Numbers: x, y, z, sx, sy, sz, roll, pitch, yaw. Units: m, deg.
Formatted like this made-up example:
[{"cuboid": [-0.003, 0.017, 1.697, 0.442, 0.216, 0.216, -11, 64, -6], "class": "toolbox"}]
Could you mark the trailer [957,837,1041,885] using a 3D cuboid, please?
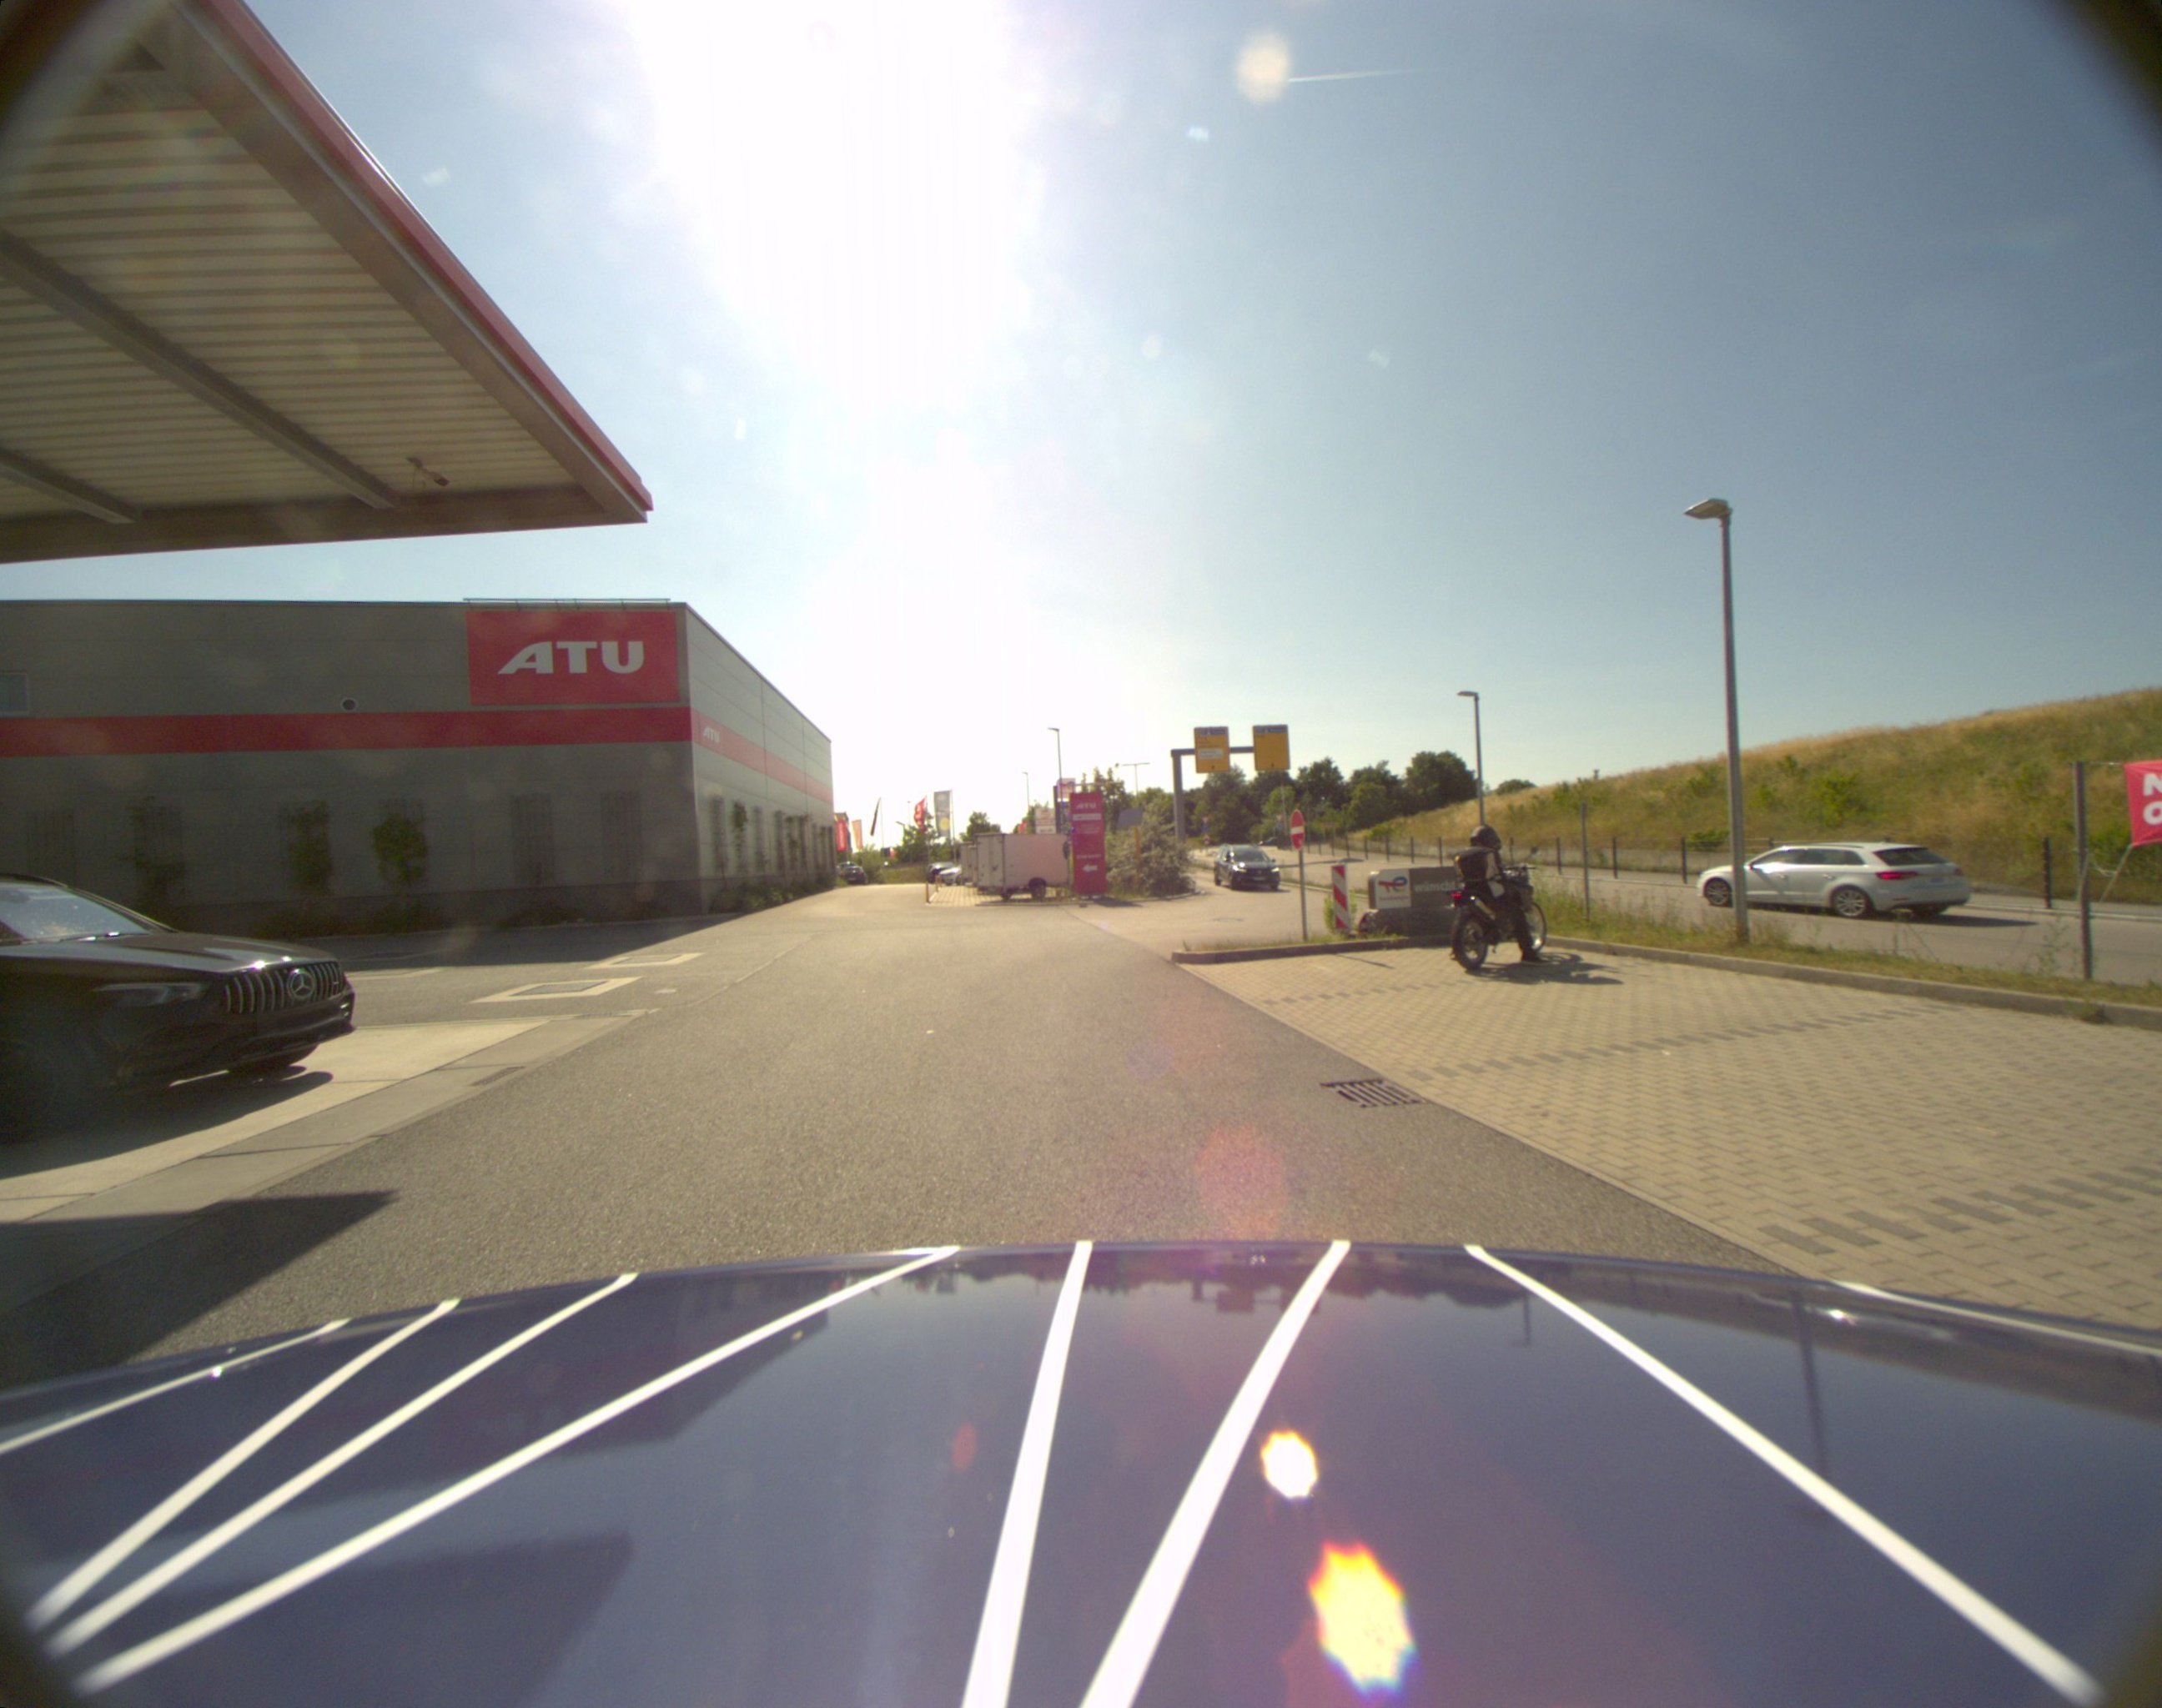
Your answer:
[{"cuboid": [-4.454, 0.366, 41.463, 4.007, 2.413, 1.995, -2, 1, -36], "class": "trailer"}]

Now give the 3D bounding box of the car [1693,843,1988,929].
[{"cuboid": [15.156, 0.533, 15.535, 1.707, 1.416, 4.091, -2, 2, -6], "class": "car"}]

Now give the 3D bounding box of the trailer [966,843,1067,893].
[{"cuboid": [-2.850, 0.609, 33.729, 4.006, 2.002, 1.798, -2, 0, -33], "class": "trailer"}]

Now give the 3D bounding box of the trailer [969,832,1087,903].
[{"cuboid": [-1.921, 0.451, 28.328, 1.994, 2.413, 4.008, -2, 1, 44], "class": "trailer"}]

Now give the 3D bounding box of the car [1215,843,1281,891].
[{"cuboid": [6.390, 0.466, 29.508, 1.742, 1.635, 4.633, -2, 0, 3], "class": "car"}]

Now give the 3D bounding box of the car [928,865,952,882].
[{"cuboid": [-11.466, 1.567, 62.003, 1.681, 1.295, 3.723, -2, 0, -7], "class": "car"}]

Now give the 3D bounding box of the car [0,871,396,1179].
[{"cuboid": [-8.410, 1.125, 5.462, 4.797, 1.840, 2.033, -1, 0, -9], "class": "car"}]

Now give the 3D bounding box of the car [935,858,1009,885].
[{"cuboid": [-6.184, 0.979, 43.438, 3.843, 1.310, 1.677, -2, 1, -42], "class": "car"}]

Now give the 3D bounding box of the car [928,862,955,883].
[{"cuboid": [-9.428, 1.236, 51.598, 1.682, 1.310, 3.832, -2, 0, -10], "class": "car"}]

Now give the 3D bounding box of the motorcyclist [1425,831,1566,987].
[{"cuboid": [4.906, 0.601, 9.014, 1.100, 1.678, 1.032, -3, 1, -33], "class": "motorcyclist"}]

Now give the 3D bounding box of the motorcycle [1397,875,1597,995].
[{"cuboid": [4.998, 0.878, 9.066, 2.419, 1.099, 1.043, -3, 1, -33], "class": "motorcycle"}]

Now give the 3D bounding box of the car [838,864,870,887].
[{"cuboid": [-16.904, 1.570, 56.408, 1.683, 1.532, 3.828, -2, 0, -25], "class": "car"}]

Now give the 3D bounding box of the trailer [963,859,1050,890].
[{"cuboid": [-3.524, 0.948, 36.134, 3.725, 1.273, 1.575, -2, 0, -33], "class": "trailer"}]
